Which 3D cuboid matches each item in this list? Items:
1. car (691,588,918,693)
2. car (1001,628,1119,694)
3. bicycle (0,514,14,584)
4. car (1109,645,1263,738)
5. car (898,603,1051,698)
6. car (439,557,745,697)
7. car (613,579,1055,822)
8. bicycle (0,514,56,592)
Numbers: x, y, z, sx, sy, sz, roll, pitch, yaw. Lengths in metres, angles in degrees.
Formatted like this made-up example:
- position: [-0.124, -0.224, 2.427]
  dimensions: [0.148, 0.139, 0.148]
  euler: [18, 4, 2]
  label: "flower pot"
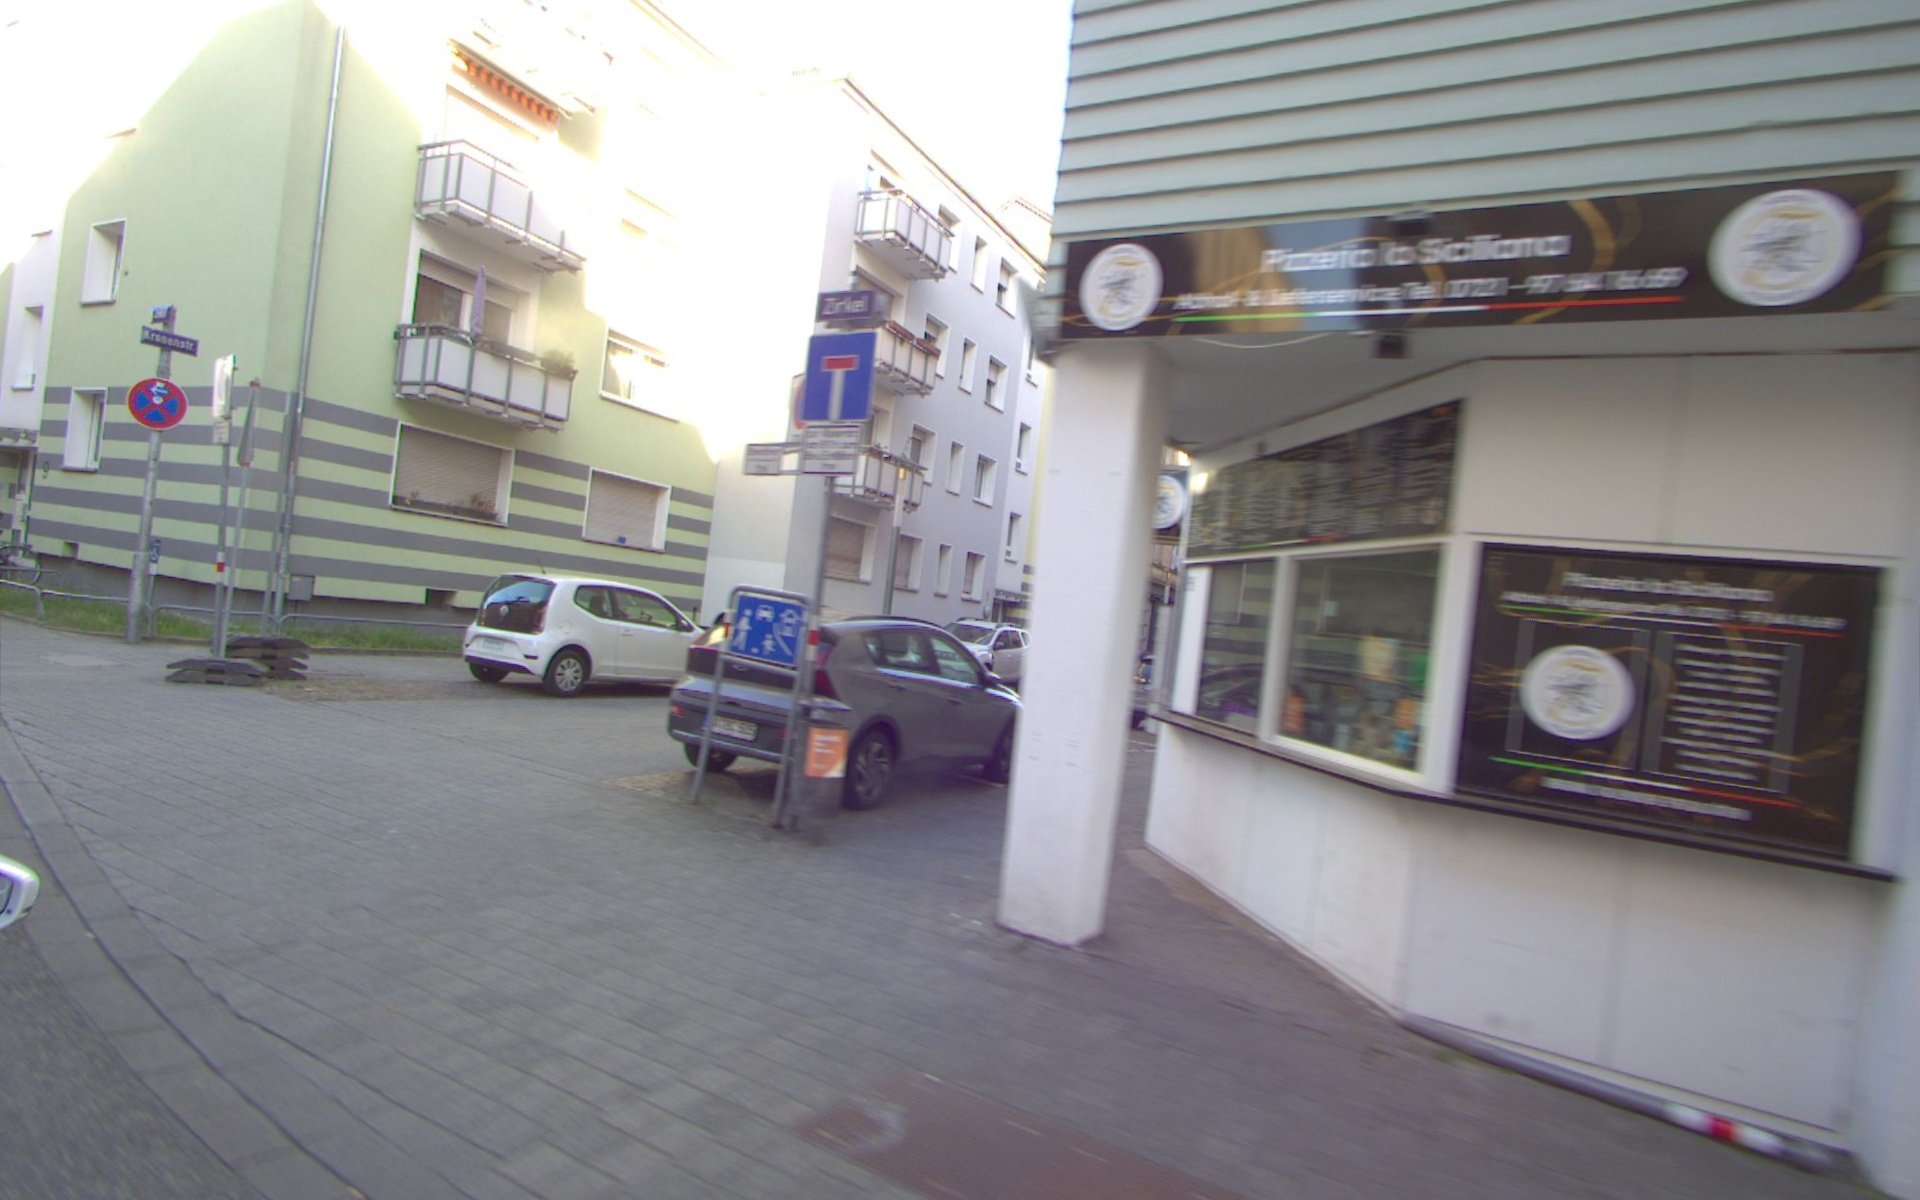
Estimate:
- position: [-2.616, 0.794, 18.015]
  dimensions: [1.680, 1.499, 4.219]
  euler: [6, -1, 29]
  label: "car"
- position: [2.865, 1.738, 27.967]
  dimensions: [1.757, 1.446, 4.186]
  euler: [6, -2, 27]
  label: "car"
- position: [-16.191, -0.854, 16.027]
  dimensions: [0.278, 1.157, 1.644]
  euler: [7, 2, 19]
  label: "bicycle"
- position: [4.588, 1.791, 19.933]
  dimensions: [1.646, 1.499, 4.174]
  euler: [5, -2, 31]
  label: "car"
- position: [0.438, 1.211, 23.320]
  dimensions: [1.757, 1.738, 4.032]
  euler: [10, 1, 27]
  label: "car"
- position: [-4.821, 0.446, 13.648]
  dimensions: [1.680, 1.499, 3.554]
  euler: [6, -2, 29]
  label: "car"
- position: [-0.833, 0.823, 9.064]
  dimensions: [1.833, 1.499, 4.088]
  euler: [6, -1, 28]
  label: "car"
- position: [-15.023, -0.749, 15.327]
  dimensions: [0.542, 1.157, 1.750]
  euler: [7, 3, 27]
  label: "bicycle"
